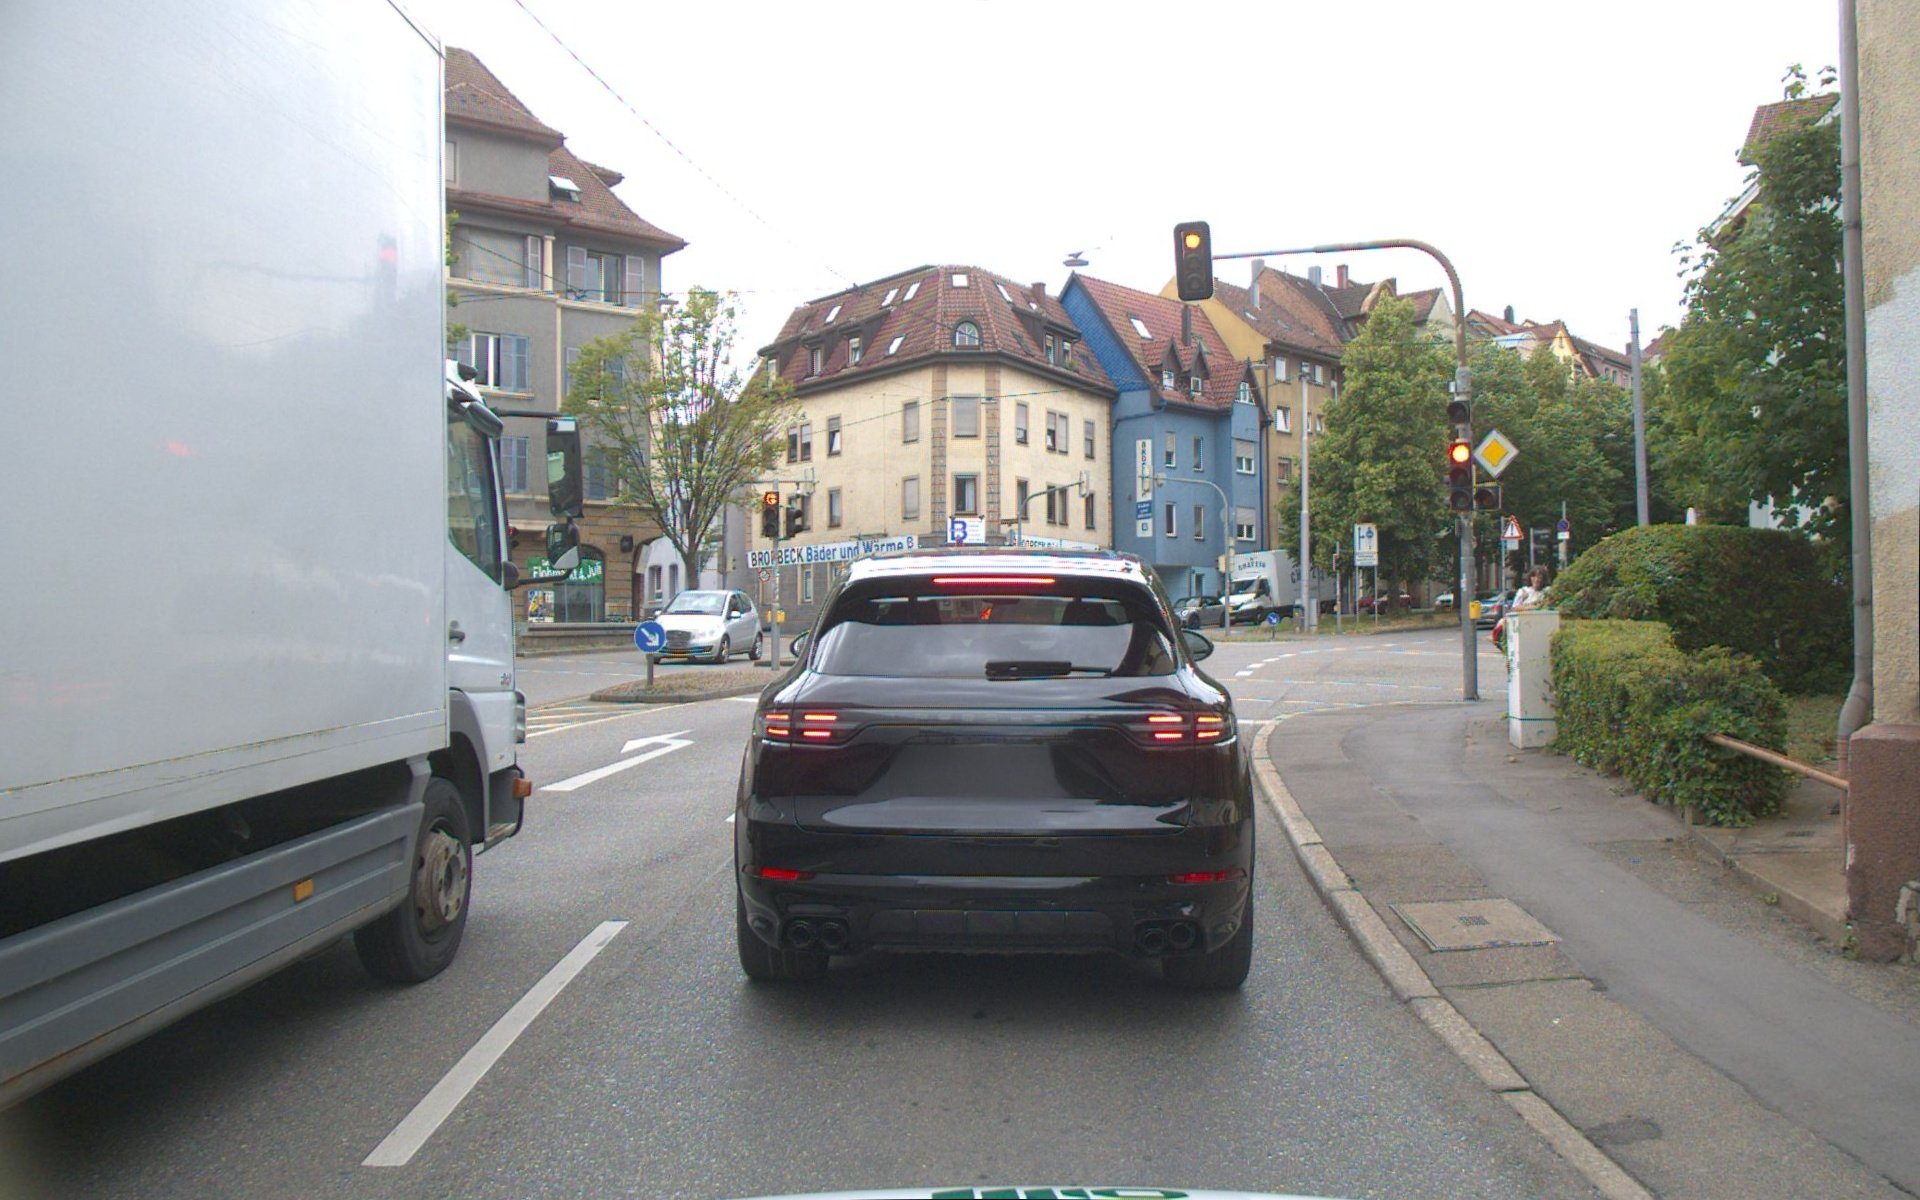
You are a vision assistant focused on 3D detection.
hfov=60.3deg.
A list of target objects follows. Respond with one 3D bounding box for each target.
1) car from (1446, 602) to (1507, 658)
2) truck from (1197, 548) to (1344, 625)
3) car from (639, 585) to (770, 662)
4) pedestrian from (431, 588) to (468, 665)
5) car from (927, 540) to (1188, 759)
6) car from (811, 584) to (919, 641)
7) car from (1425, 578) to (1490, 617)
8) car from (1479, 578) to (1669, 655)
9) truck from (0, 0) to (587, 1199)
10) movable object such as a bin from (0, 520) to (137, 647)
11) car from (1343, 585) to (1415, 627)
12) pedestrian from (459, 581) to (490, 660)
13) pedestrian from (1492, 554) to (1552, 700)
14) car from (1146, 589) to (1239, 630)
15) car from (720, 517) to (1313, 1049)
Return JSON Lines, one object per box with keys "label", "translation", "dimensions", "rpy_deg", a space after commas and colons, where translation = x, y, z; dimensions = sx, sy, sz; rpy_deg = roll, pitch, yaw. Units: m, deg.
{"label": "car", "translation": [19.734, 1.142, 63.319], "dimensions": [1.951, 2.049, 4.003], "rpy_deg": [1, -1, 14]}
{"label": "truck", "translation": [14.899, -0.601, 78.756], "dimensions": [2.830, 3.398, 8.744], "rpy_deg": [2, 0, 41]}
{"label": "car", "translation": [-5.622, 0.529, 36.864], "dimensions": [1.849, 1.607, 3.972], "rpy_deg": [0, -1, 7]}
{"label": "pedestrian", "translation": [-10.732, 0.553, 34.795], "dimensions": [0.577, 1.594, 0.486], "rpy_deg": [2, -1, -1]}
{"label": "car", "translation": [1.033, 0.391, 15.075], "dimensions": [1.951, 1.713, 4.003], "rpy_deg": [0, 0, 10]}
{"label": "car", "translation": [-3.605, 0.467, 62.678], "dimensions": [1.985, 2.049, 3.935], "rpy_deg": [2, -1, -44]}
{"label": "car", "translation": [28.057, -0.113, 93.209], "dimensions": [1.965, 2.049, 3.975], "rpy_deg": [2, 0, 42]}
{"label": "car", "translation": [14.582, 0.368, 39.418], "dimensions": [1.698, 1.691, 3.946], "rpy_deg": [2, 0, -38]}
{"label": "truck", "translation": [-3.089, -0.388, 3.651], "dimensions": [2.712, 3.637, 8.064], "rpy_deg": [0, 1, 0]}
{"label": "movable object such as a bin", "translation": [-14.347, -0.268, 25.712], "dimensions": [1.870, 1.802, 3.986], "rpy_deg": [2, 0, -14]}
{"label": "car", "translation": [21.914, 0.341, 86.466], "dimensions": [1.965, 2.049, 3.975], "rpy_deg": [2, 0, 42]}
{"label": "pedestrian", "translation": [-10.922, 0.460, 37.208], "dimensions": [0.503, 1.760, 0.451], "rpy_deg": [2, -1, 1]}
{"label": "pedestrian", "translation": [7.282, 0.344, 21.456], "dimensions": [0.517, 1.851, 0.591], "rpy_deg": [2, -1, -1]}
{"label": "car", "translation": [10.134, 0.405, 71.948], "dimensions": [3.968, 1.713, 1.968], "rpy_deg": [0, 0, -43]}
{"label": "car", "translation": [0.073, 0.563, 7.391], "dimensions": [1.939, 1.713, 3.997], "rpy_deg": [0, 1, -4]}
